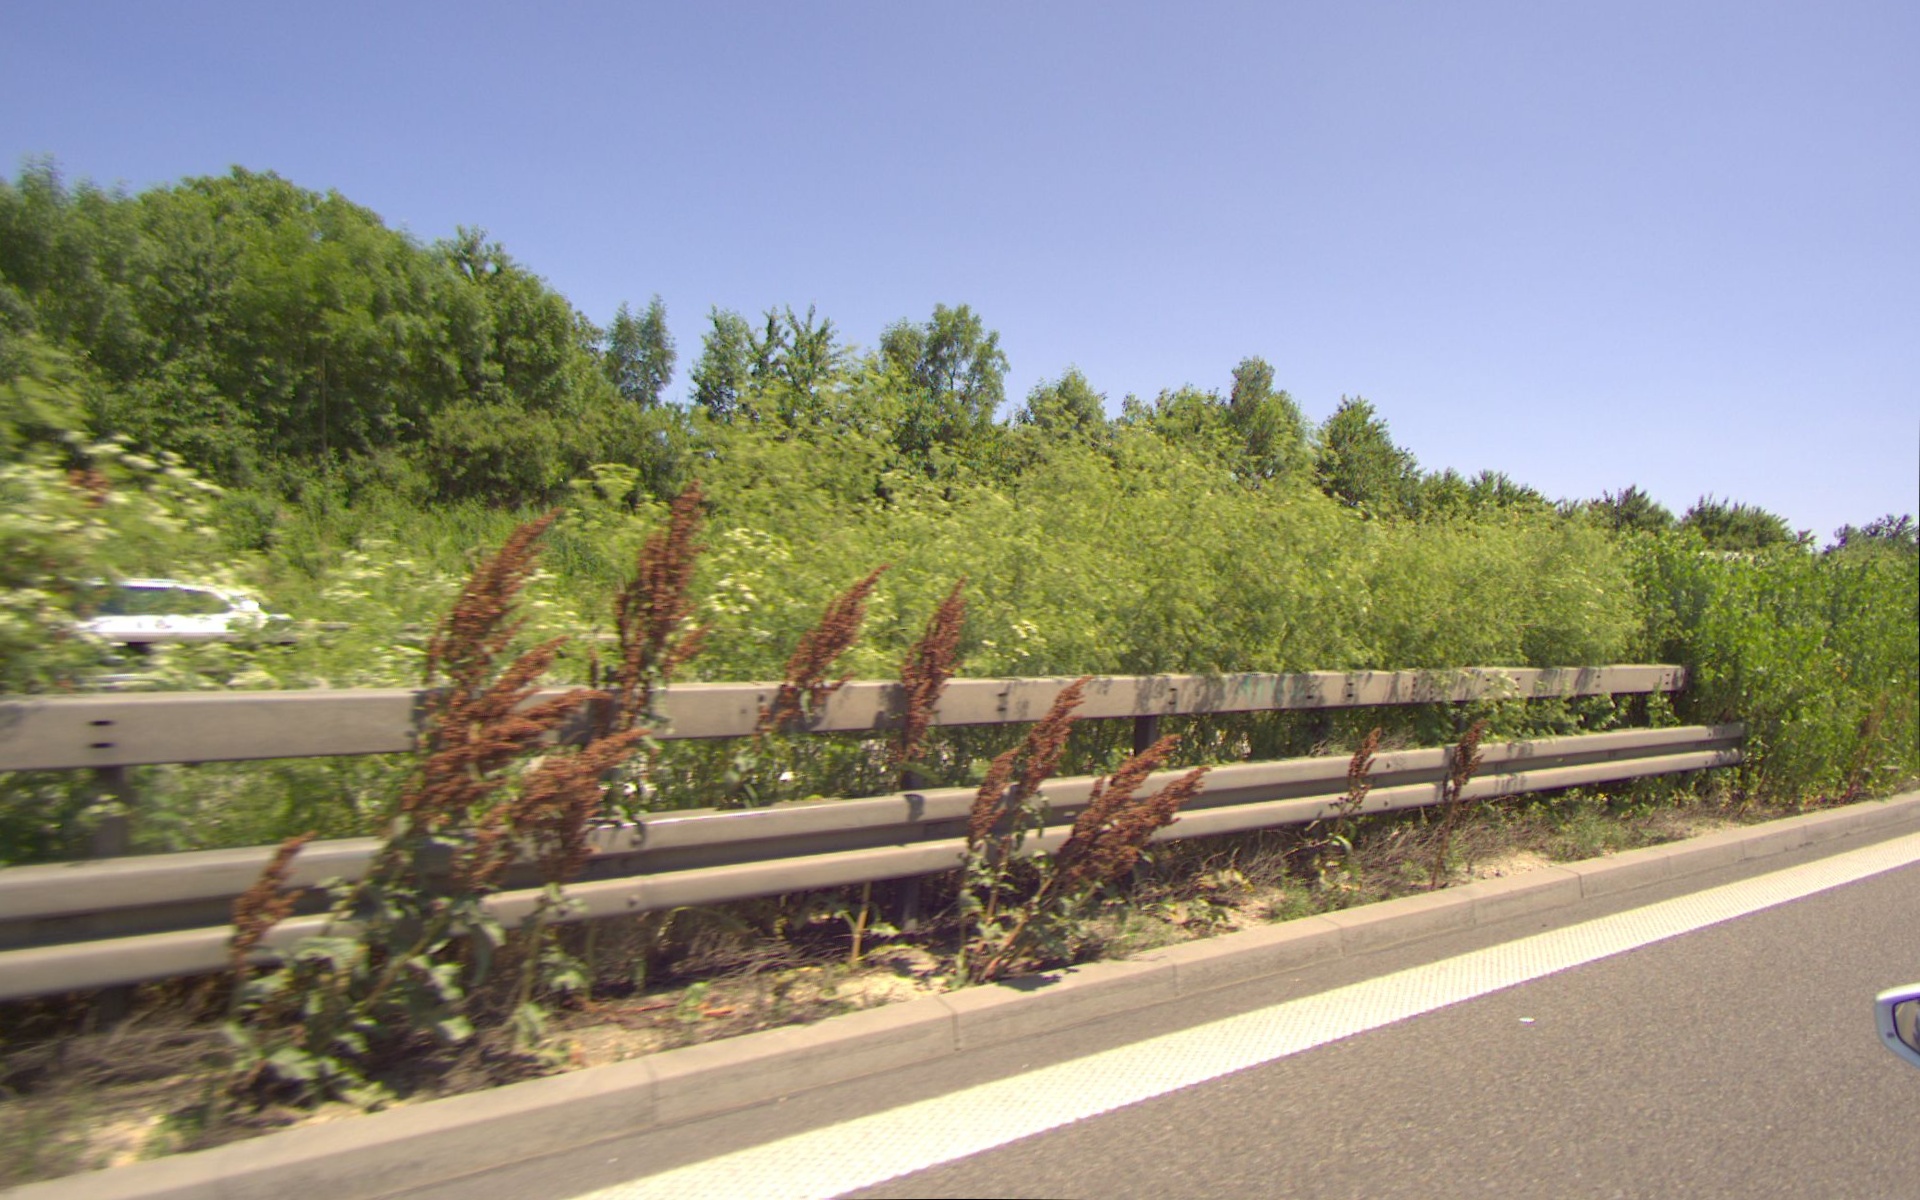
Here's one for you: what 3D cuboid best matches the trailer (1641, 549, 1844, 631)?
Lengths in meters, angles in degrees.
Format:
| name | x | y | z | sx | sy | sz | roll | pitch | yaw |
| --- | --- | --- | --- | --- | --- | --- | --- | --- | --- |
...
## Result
| name | x | y | z | sx | sy | sz | roll | pitch | yaw |
| --- | --- | --- | --- | --- | --- | --- | --- | --- | --- |
| trailer | 32.112 | -0.264 | 40.943 | 12.181 | 2.838 | 2.658 | 2 | 0 | -33 |

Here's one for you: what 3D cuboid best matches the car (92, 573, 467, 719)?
| name | x | y | z | sx | sy | sz | roll | pitch | yaw |
| --- | --- | --- | --- | --- | --- | --- | --- | --- | --- |
| car | -9.210 | 0.614 | 14.007 | 4.067 | 1.770 | 1.739 | 2 | 0 | -30 |

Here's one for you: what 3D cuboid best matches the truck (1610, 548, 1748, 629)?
| name | x | y | z | sx | sy | sz | roll | pitch | yaw |
| --- | --- | --- | --- | --- | --- | --- | --- | --- | --- |
| truck | 26.881 | -0.382 | 37.543 | 4.594 | 2.785 | 2.673 | 2 | 0 | -32 |
